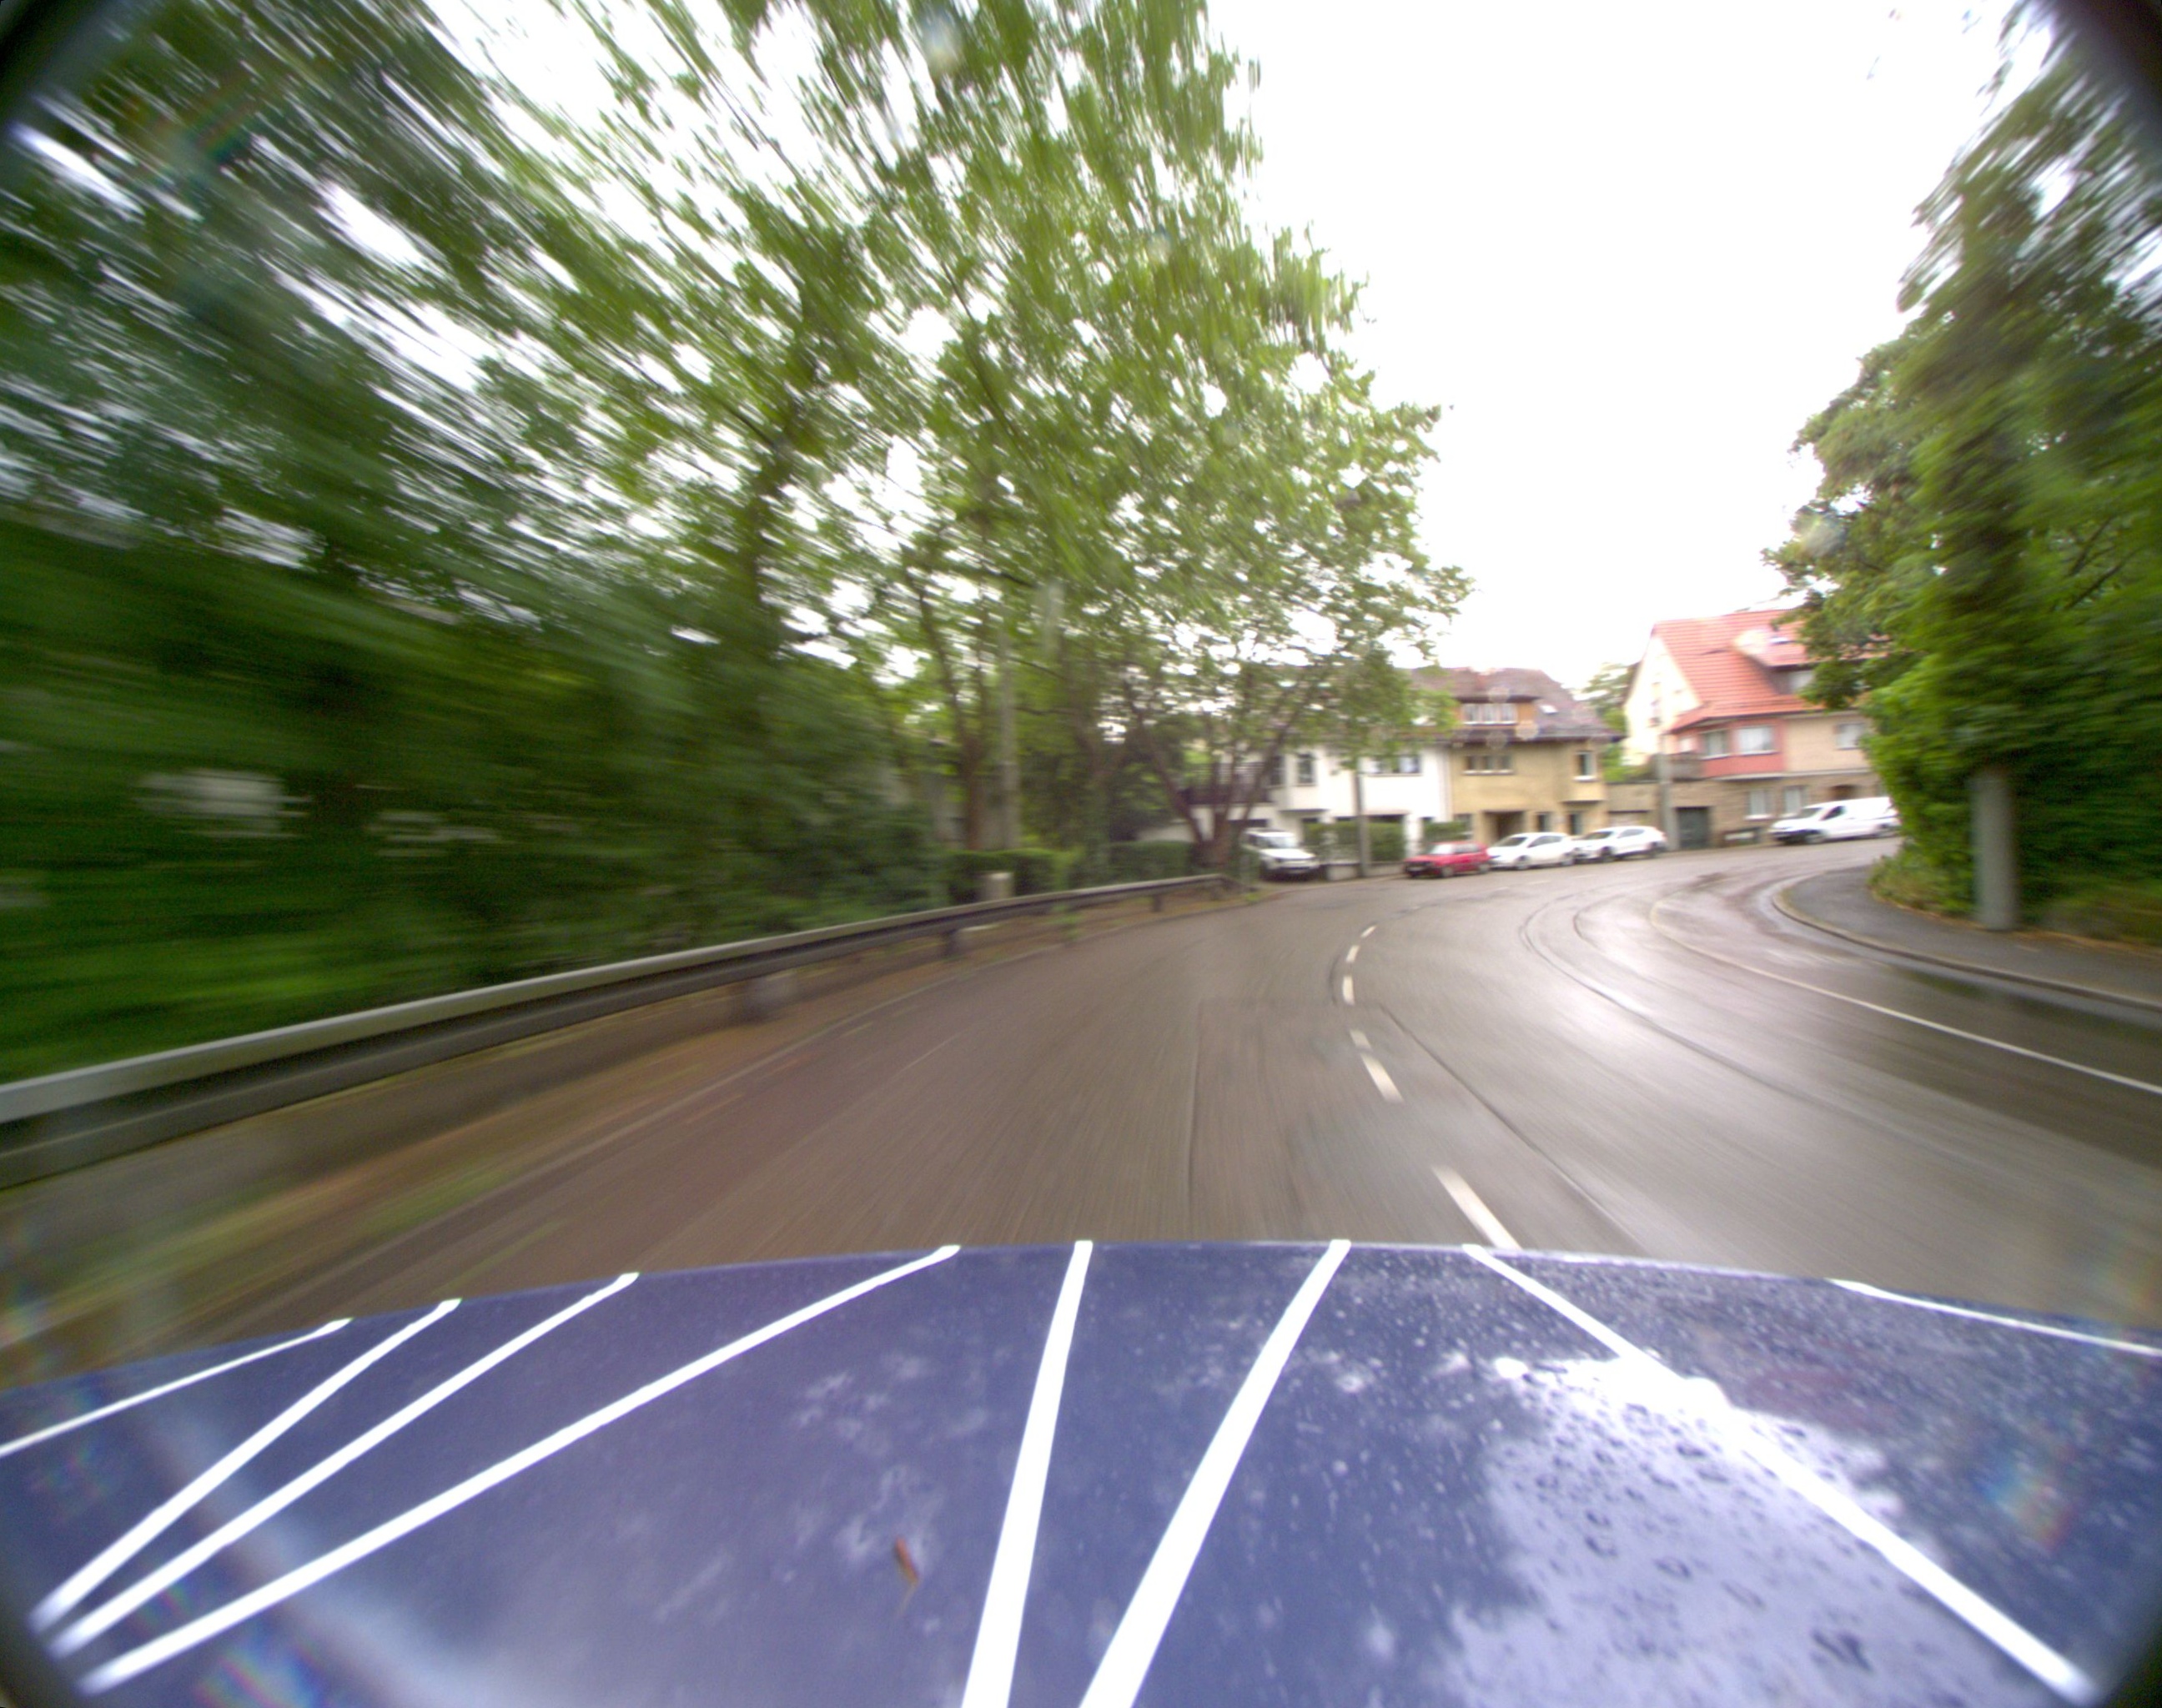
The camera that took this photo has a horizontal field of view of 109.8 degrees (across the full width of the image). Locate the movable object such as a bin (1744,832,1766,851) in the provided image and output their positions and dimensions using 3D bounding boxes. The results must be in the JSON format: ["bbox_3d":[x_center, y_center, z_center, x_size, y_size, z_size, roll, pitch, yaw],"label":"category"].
[{"bbox_3d":[33.281,-0.625,37.522,0.512,0.916,0.582,-5,1,12],"label":"movable object such as a bin"}]

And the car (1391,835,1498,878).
[{"bbox_3d":[14.465,0.090,30.194,4.201,1.359,1.782,-5,0,-32],"label":"car"}]

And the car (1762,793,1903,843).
[{"bbox_3d":[34.216,-1.600,34.690,4.321,1.779,1.712,-5,-3,5],"label":"car"}]

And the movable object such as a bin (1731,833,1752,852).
[{"bbox_3d":[32.742,-0.560,37.659,0.512,0.916,0.582,-5,1,12],"label":"movable object such as a bin"}]

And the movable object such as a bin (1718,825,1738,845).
[{"bbox_3d":[32.140,-0.942,37.759,0.512,0.916,0.582,-5,1,12],"label":"movable object such as a bin"}]

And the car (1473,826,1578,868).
[{"bbox_3d":[18.944,-0.290,32.403,3.826,1.506,1.768,-4,0,-20],"label":"car"}]

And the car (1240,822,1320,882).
[{"bbox_3d":[8.247,-0.158,31.881,1.999,1.835,4.402,-2,8,-3],"label":"car"}]

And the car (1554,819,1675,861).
[{"bbox_3d":[23.660,-0.621,33.739,4.416,1.529,1.918,-4,0,-15],"label":"car"}]
